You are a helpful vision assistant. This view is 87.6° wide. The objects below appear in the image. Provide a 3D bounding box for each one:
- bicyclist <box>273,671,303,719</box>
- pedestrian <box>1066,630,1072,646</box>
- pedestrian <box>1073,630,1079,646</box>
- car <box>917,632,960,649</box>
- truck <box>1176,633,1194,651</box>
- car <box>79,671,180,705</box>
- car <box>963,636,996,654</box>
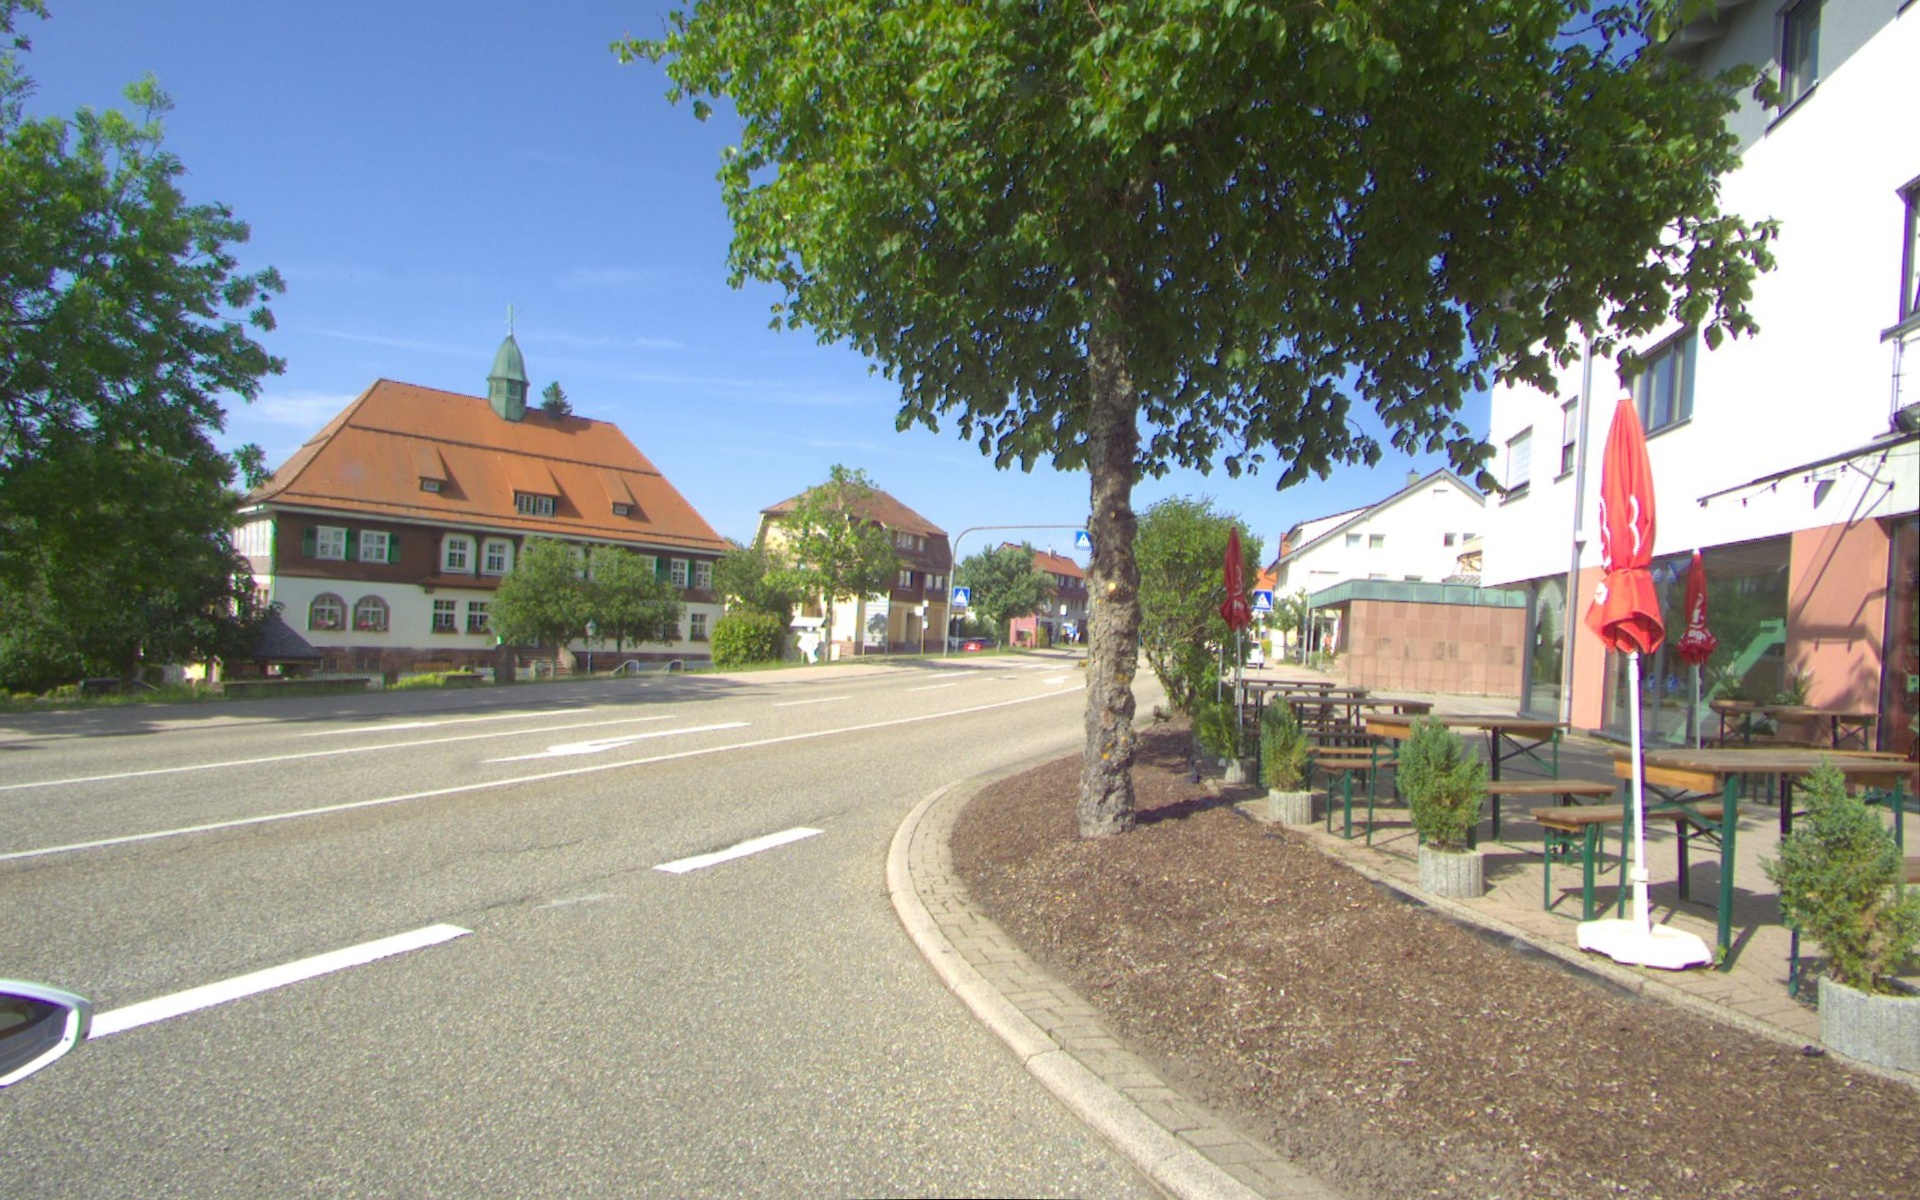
[{"bbox_3d":[-28.426,4.002,42.351,0.988,1.949,0.577,1,-2,-43],"label":"bicyclist"},{"bbox_3d":[12.462,4.376,114.798,0.489,1.771,0.587,-1,-1,31],"label":"pedestrian"},{"bbox_3d":[13.250,4.358,114.347,0.489,1.771,0.581,-1,-1,31],"label":"pedestrian"},{"bbox_3d":[-1.979,3.762,92.729,3.648,1.451,1.774,-2,-2,19],"label":"car"},{"bbox_3d":[31.261,5.756,138.935,1.963,2.372,6.488,2,-1,16],"label":"truck"},{"bbox_3d":[-41.635,4.374,50.256,1.696,1.463,3.751,-2,-2,44],"label":"car"},{"bbox_3d":[1.632,3.693,82.058,1.744,1.451,3.710,-1,-2,17],"label":"car"}]
